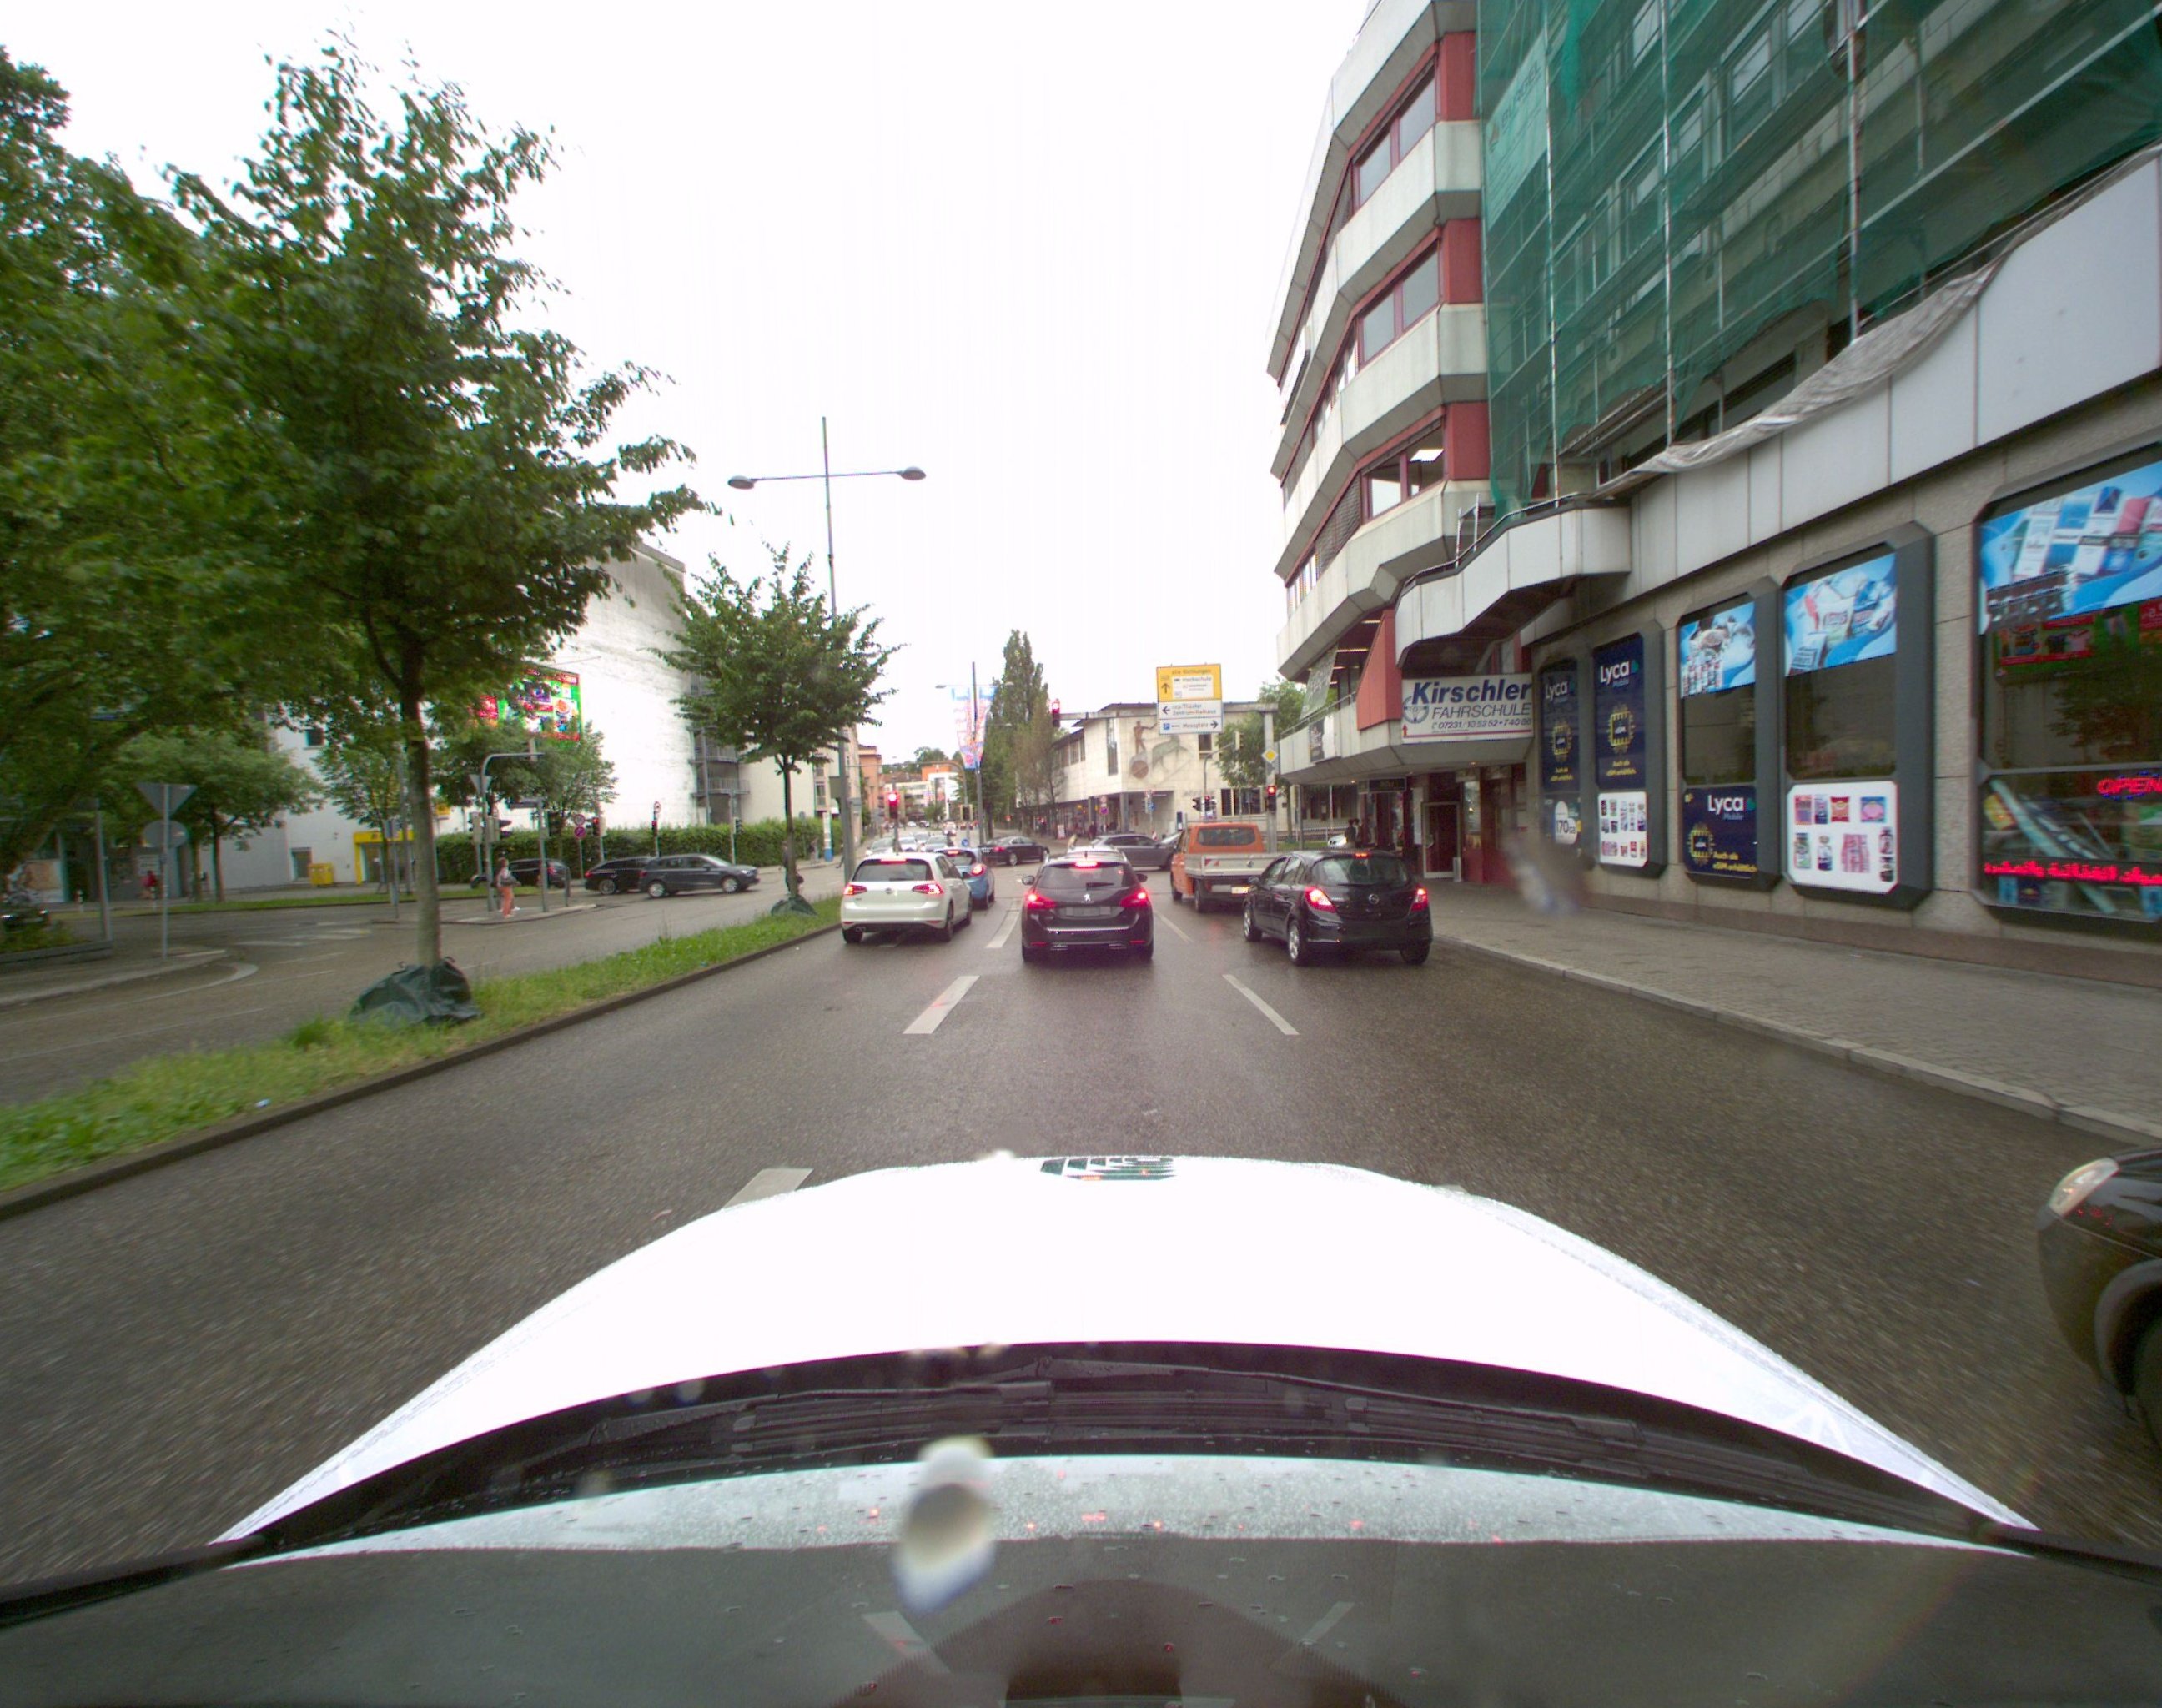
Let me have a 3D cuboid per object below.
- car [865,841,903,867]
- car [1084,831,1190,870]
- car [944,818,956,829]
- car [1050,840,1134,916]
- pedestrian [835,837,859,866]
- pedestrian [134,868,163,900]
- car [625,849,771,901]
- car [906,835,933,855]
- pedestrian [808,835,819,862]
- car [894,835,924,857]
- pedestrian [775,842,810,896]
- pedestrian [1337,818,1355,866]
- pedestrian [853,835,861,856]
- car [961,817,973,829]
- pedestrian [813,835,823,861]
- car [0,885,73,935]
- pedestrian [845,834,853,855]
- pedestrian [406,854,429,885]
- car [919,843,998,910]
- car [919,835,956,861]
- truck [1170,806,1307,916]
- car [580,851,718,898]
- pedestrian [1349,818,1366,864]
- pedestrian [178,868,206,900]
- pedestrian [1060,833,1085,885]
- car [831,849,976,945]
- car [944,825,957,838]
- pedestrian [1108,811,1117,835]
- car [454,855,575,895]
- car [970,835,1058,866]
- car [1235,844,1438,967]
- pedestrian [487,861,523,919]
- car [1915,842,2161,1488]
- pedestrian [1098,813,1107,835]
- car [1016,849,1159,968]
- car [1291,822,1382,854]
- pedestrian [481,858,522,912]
[{"bbox_3d":[-12.117,-0.035,50.247,1.570,1.486,3.608,-1,1,-2],"label":"car"},{"bbox_3d":[2.241,-0.133,32.923,3.987,1.486,1.618,0,-1,-10],"label":"car"},{"bbox_3d":[-24.052,-5.632,149.649,1.709,1.882,3.978,0,-1,-16],"label":"car"},{"bbox_3d":[0.276,0.457,18.403,1.690,1.486,3.795,-1,1,1],"label":"car"},{"bbox_3d":[-12.556,-0.124,43.722,1.059,1.578,0.683,-1,-1,-3],"label":"pedestrian"},{"bbox_3d":[-48.546,1.569,42.393,0.633,1.643,0.735,-1,-1,8],"label":"pedestrian"},{"bbox_3d":[-14.198,0.747,30.433,4.494,1.454,1.786,-4,3,-11],"label":"car"},{"bbox_3d":[-12.746,-0.748,64.471,1.630,1.486,3.604,-1,1,-4],"label":"car"},{"bbox_3d":[-17.535,-0.332,53.477,0.538,1.748,0.745,0,-1,-7],"label":"pedestrian"},{"bbox_3d":[-12.136,-0.599,57.625,1.630,1.486,3.604,-1,1,-4],"label":"car"},{"bbox_3d":[-9.645,0.499,27.248,0.921,1.784,0.708,0,-1,-4],"label":"pedestrian"},{"bbox_3d":[9.509,-0.426,29.240,0.424,1.682,0.450,-3,-1,0],"label":"pedestrian"},{"bbox_3d":[-19.029,-0.735,69.254,0.595,1.728,0.655,0,-1,-7],"label":"pedestrian"},{"bbox_3d":[-20.987,-5.746,150.364,1.709,1.936,3.978,0,-1,-16],"label":"car"},{"bbox_3d":[-17.746,-0.383,55.000,0.538,1.748,0.564,0,-1,-3],"label":"pedestrian"},{"bbox_3d":[-37.405,1.965,27.403,4.227,1.565,1.699,-3,1,-9],"label":"car"},{"bbox_3d":[-19.588,-0.818,68.733,0.595,1.728,0.655,0,-1,-7],"label":"pedestrian"},{"bbox_3d":[-35.305,0.815,43.341,0.730,1.643,0.638,0,-1,-6],"label":"pedestrian"},{"bbox_3d":[-3.008,0.493,20.570,1.629,1.486,3.606,-1,1,-3],"label":"car"},{"bbox_3d":[-8.967,-0.343,51.128,1.739,1.579,3.997,-1,-1,-2],"label":"car"},{"bbox_3d":[3.425,0.081,18.774,2.170,2.172,5.019,-1,1,-1],"label":"truck"},{"bbox_3d":[-17.466,0.786,33.129,4.494,1.454,1.786,-4,3,-11],"label":"car"},{"bbox_3d":[10.024,-0.457,29.525,0.395,1.640,0.504,-3,-1,2],"label":"pedestrian"},{"bbox_3d":[-45.870,1.535,42.037,0.727,1.643,0.640,-1,-1,7],"label":"pedestrian"},{"bbox_3d":[-0.276,0.170,26.864,0.745,1.680,0.710,-1,-1,3],"label":"pedestrian"},{"bbox_3d":[-3.009,0.659,14.587,1.772,1.429,3.841,-1,1,-1],"label":"car"},{"bbox_3d":[-18.401,-3.208,114.844,1.744,1.640,3.987,0,-1,-9],"label":"car"},{"bbox_3d":[2.574,-2.557,66.479,0.633,1.897,0.735,-1,-1,8],"label":"pedestrian"},{"bbox_3d":[-26.040,0.942,37.568,4.053,1.454,1.786,-4,3,-11],"label":"car"},{"bbox_3d":[-3.311,-0.135,41.310,1.708,1.490,4.763,-1,-1,37],"label":"car"},{"bbox_3d":[3.418,0.593,11.645,1.612,1.429,3.840,-1,1,-2],"label":"car"},{"bbox_3d":[-17.122,1.047,24.223,0.555,1.661,0.579,-2,2,1],"label":"pedestrian"},{"bbox_3d":[3.137,0.709,0.532,1.600,1.429,3.626,-1,1,3],"label":"car"},{"bbox_3d":[1.774,-2.426,66.015,0.633,1.758,0.735,-1,-1,8],"label":"pedestrian"},{"bbox_3d":[0.077,0.665,12.087,1.772,1.429,3.841,-1,1,0],"label":"car"},{"bbox_3d":[12.340,-0.758,39.411,3.896,1.486,1.617,0,-1,-11],"label":"car"},{"bbox_3d":[-18.644,0.991,26.207,0.750,1.661,0.628,-2,2,1],"label":"pedestrian"}]
